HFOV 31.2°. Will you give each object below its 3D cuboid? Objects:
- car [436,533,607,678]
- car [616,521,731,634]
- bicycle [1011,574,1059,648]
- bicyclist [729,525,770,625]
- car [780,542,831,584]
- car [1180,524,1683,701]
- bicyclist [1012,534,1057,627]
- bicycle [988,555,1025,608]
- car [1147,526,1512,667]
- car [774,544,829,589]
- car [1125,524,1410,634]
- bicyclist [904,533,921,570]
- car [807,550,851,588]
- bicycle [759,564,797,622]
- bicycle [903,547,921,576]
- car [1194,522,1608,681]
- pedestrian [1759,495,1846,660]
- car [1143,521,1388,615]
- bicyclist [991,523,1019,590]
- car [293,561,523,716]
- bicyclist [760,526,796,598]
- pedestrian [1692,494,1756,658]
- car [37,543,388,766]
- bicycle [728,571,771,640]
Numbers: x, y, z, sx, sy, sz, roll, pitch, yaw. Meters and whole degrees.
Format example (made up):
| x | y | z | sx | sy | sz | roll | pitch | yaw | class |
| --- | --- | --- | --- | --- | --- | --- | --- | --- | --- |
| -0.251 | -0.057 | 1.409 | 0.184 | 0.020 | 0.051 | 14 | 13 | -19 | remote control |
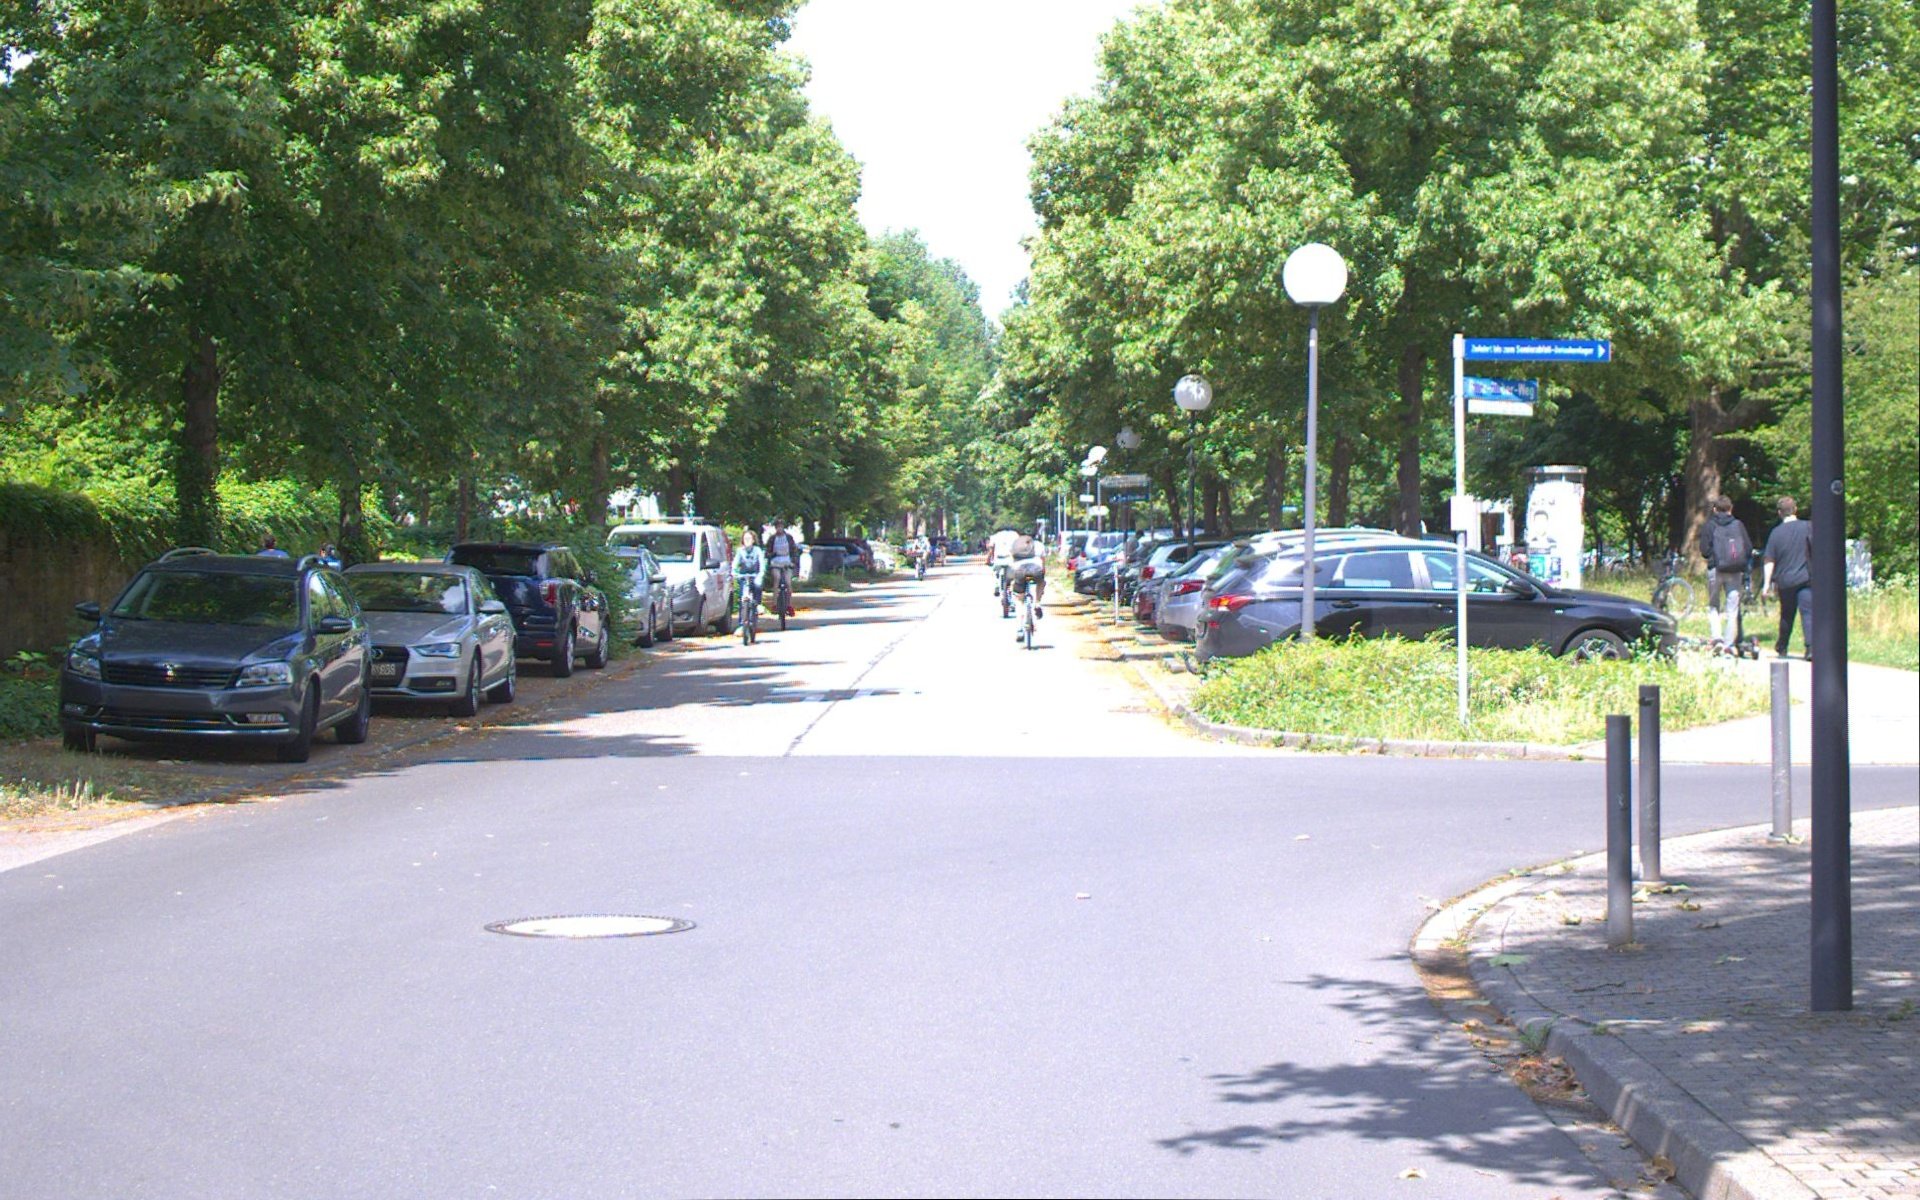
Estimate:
| x | y | z | sx | sy | sz | roll | pitch | yaw | class |
| --- | --- | --- | --- | --- | --- | --- | --- | --- | --- |
| -5.312 | 0.028 | 42.059 | 1.615 | 1.673 | 4.000 | 0 | 1 | -1 | car |
| -4.743 | -0.390 | 57.368 | 1.615 | 1.809 | 4.000 | 0 | 1 | -1 | car |
| 1.054 | 0.148 | 48.453 | 0.614 | 0.997 | 1.423 | 0 | 1 | -1 | bicycle |
| -3.171 | -0.388 | 51.899 | 0.563 | 1.493 | 0.827 | 0 | 1 | -1 | bicyclist |
| -5.175 | -1.266 | 115.629 | 1.615 | 1.360 | 4.563 | 0 | 1 | -2 | car |
| 4.391 | 0.098 | 32.504 | 4.485 | 1.520 | 1.810 | -1 | 1 | 1 | car |
| 1.053 | -0.277 | 48.479 | 0.609 | 1.291 | 0.611 | 0 | 1 | -1 | bicyclist |
| 0.900 | -0.361 | 67.011 | 0.614 | 0.997 | 1.423 | 1 | 0 | -3 | bicycle |
| 4.481 | -0.057 | 42.135 | 4.256 | 1.582 | 1.810 | -1 | 1 | 1 | car |
| -4.859 | -1.045 | 105.821 | 1.615 | 1.360 | 4.000 | 0 | 1 | -2 | car |
| 4.756 | -0.339 | 53.642 | 4.256 | 1.582 | 1.920 | -1 | 1 | 1 | car |
| -1.678 | -1.713 | 121.701 | 0.609 | 1.291 | 0.611 | 0 | 1 | -1 | bicyclist |
| -4.901 | -1.166 | 128.796 | 1.615 | 1.360 | 4.000 | 0 | 1 | -2 | car |
| -3.245 | -0.130 | 61.375 | 0.614 | 0.997 | 1.423 | 0 | 1 | -1 | bicycle |
| -1.697 | -1.357 | 121.704 | 0.609 | 0.997 | 1.423 | 0 | 1 | -1 | bicycle |
| 4.743 | 0.006 | 37.405 | 4.256 | 1.582 | 1.810 | -1 | 1 | 1 | car |
| 9.078 | -0.245 | 37.042 | 0.821 | 1.749 | 0.628 | 0 | 1 | 6 | pedestrian |
| 5.518 | -0.588 | 62.529 | 4.256 | 1.582 | 1.920 | -1 | 1 | 1 | car |
| 0.873 | -0.853 | 66.918 | 0.522 | 1.291 | 0.611 | 0 | 1 | -2 | bicyclist |
| -5.293 | 0.331 | 33.374 | 1.615 | 1.383 | 4.000 | 0 | 1 | -1 | car |
| -3.248 | -0.682 | 61.489 | 0.608 | 1.291 | 0.611 | 0 | 1 | -1 | bicyclist |
| 8.261 | -0.263 | 37.167 | 0.601 | 1.749 | 0.628 | 0 | 1 | 6 | pedestrian |
| -5.490 | 0.342 | 25.736 | 1.760 | 1.516 | 4.112 | 0 | 1 | -1 | car |
| -3.167 | 0.075 | 51.793 | 0.577 | 0.997 | 1.423 | 0 | 1 | -1 | bicycle |
